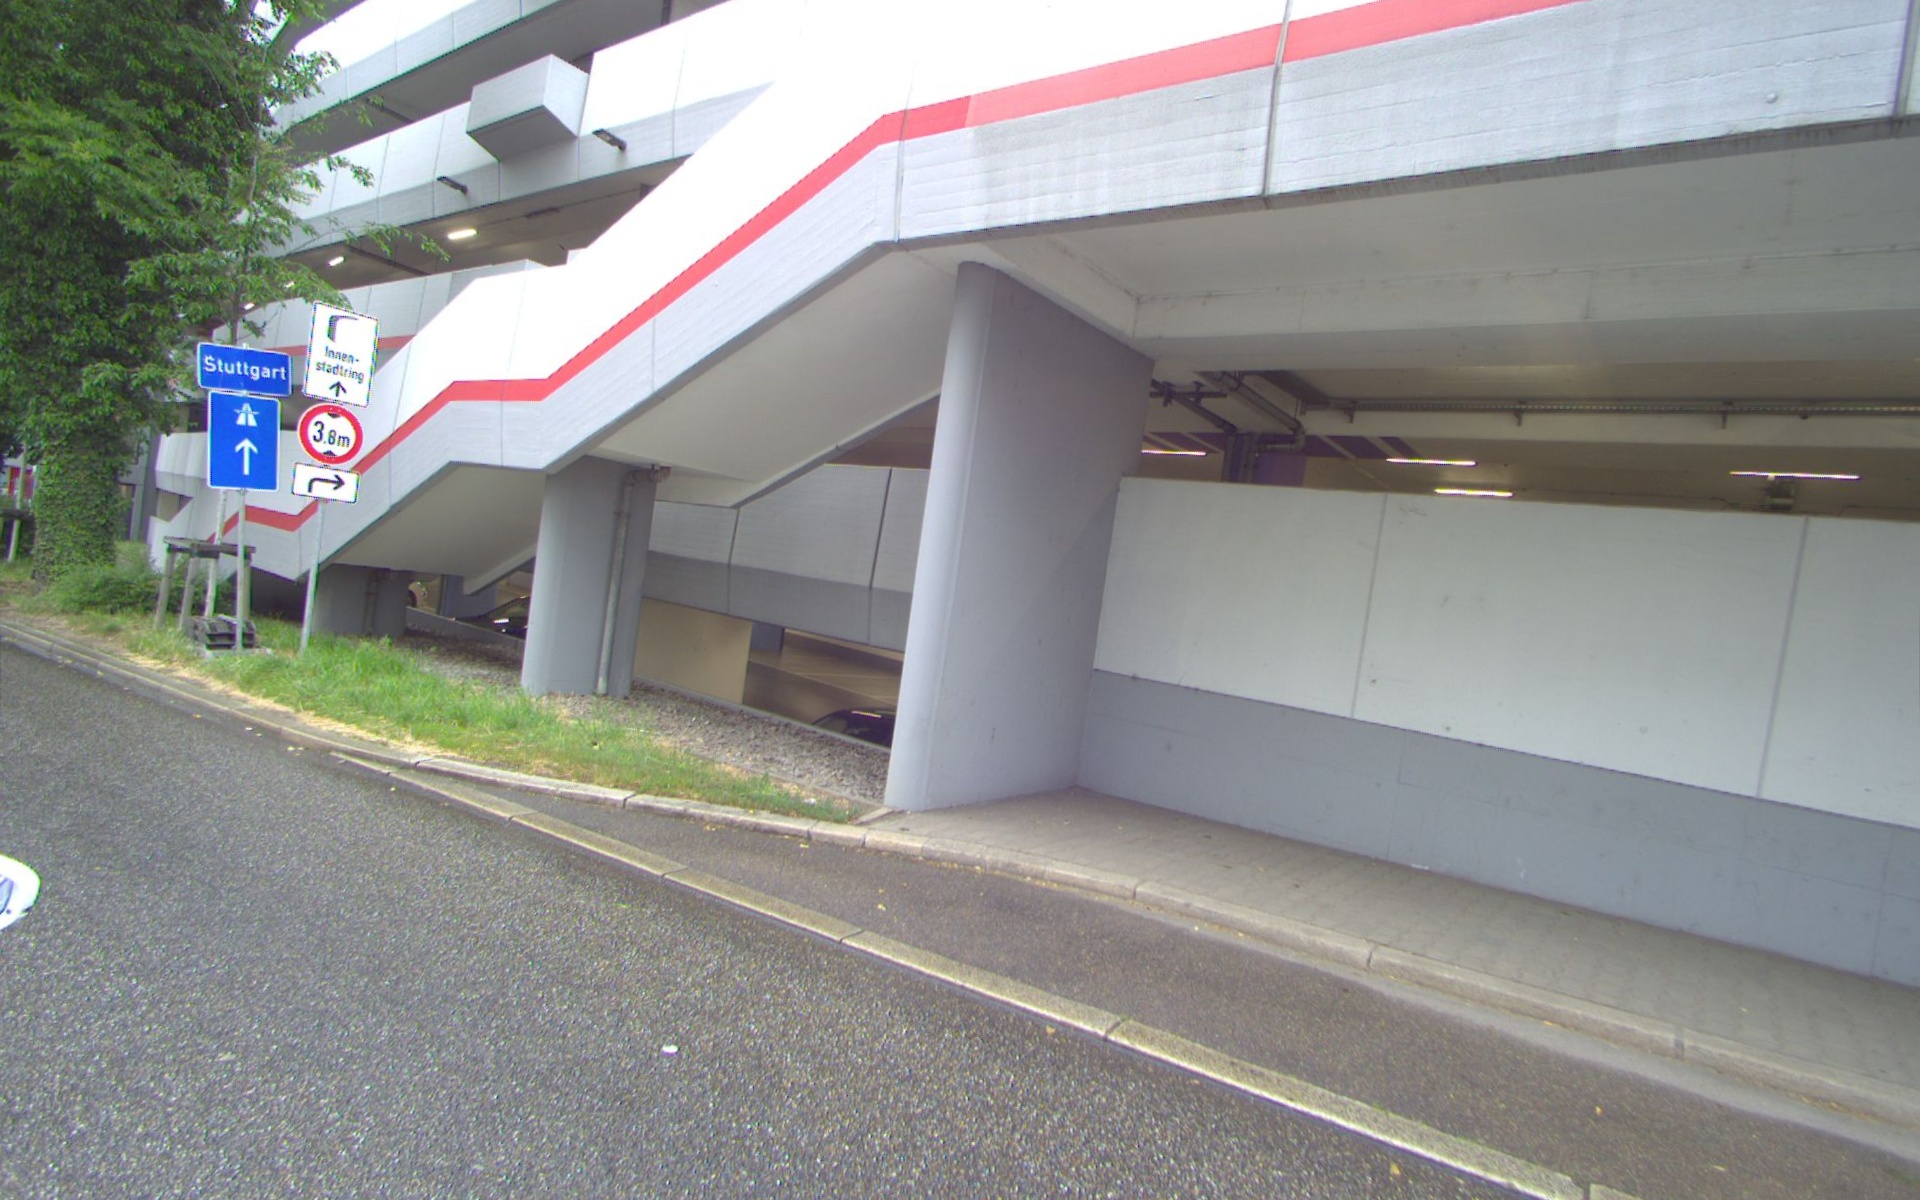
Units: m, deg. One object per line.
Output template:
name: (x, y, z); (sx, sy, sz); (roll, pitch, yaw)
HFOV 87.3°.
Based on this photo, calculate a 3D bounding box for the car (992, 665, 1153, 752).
car: (2.740, 2.554, 23.775); (1.810, 1.559, 3.988); (11, 2, 37)

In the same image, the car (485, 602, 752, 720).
car: (-5.845, 1.127, 17.624); (1.810, 1.643, 3.988); (7, -1, 36)

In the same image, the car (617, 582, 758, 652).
car: (-8.931, 0.582, 33.190); (1.792, 1.804, 3.979); (7, 0, 44)

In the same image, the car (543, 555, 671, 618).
car: (-13.033, -0.473, 37.266); (1.792, 1.804, 3.979); (7, 0, 44)

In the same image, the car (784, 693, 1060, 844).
car: (-0.421, 2.355, 14.772); (1.810, 1.559, 3.931); (11, 2, 37)

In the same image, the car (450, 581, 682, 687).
car: (-7.649, 0.720, 19.806); (1.782, 1.559, 3.734); (11, 2, 37)
